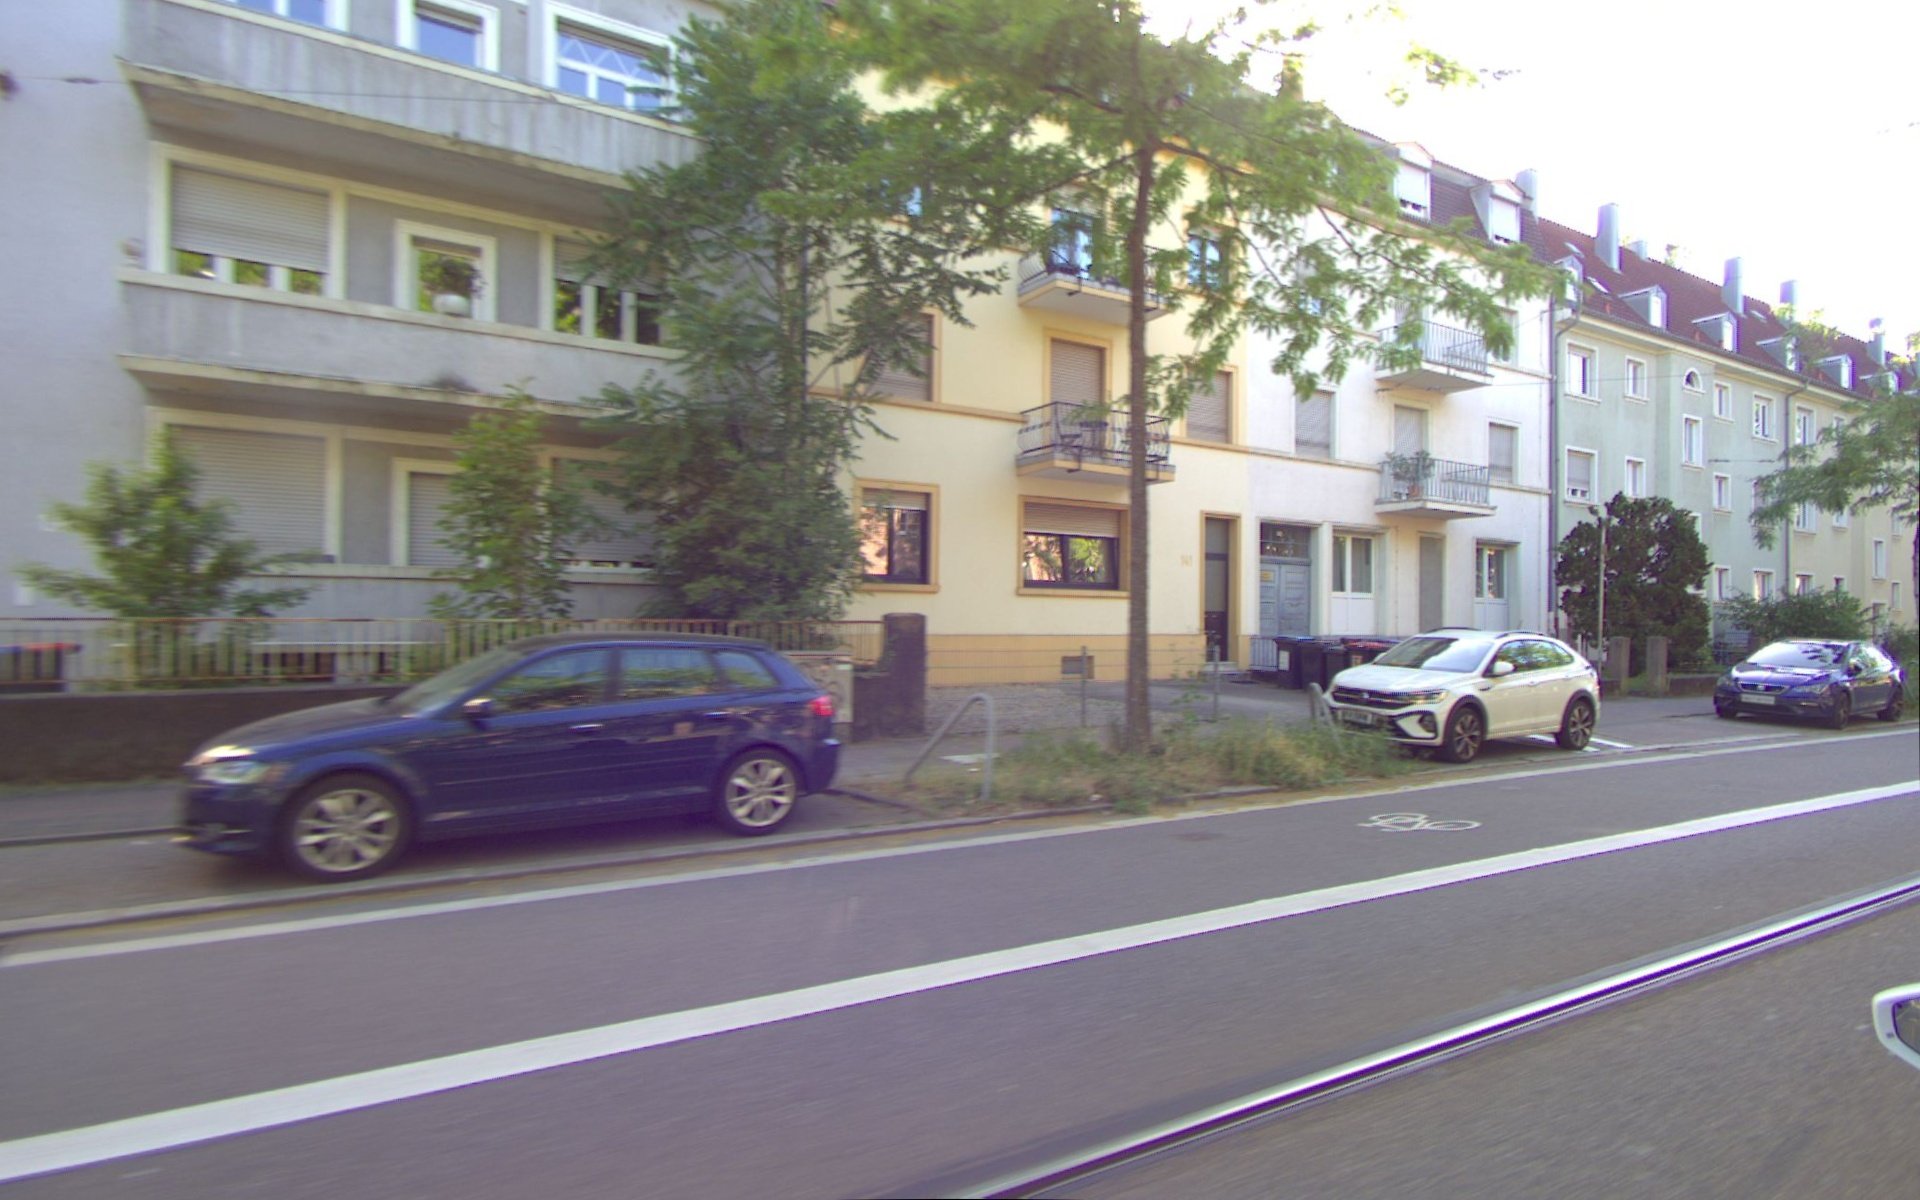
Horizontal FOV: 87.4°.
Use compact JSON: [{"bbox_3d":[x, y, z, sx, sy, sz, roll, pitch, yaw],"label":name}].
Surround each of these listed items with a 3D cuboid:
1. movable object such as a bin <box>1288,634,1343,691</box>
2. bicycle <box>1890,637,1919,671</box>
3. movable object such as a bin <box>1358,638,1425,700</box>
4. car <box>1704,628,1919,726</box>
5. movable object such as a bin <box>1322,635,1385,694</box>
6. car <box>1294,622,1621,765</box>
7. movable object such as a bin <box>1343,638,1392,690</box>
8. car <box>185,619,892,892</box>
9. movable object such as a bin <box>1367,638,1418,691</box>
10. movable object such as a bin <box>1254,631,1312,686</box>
[{"bbox_3d":[7.058,1.223,19.937,0.723,1.060,0.705,1,1,-27],"label":"movable object such as a bin"},{"bbox_3d":[36.152,2.049,37.599,0.516,1.193,1.896,1,1,-32],"label":"bicycle"},{"bbox_3d":[7.928,1.255,18.476,0.723,1.060,0.841,1,1,-27],"label":"movable object such as a bin"},{"bbox_3d":[15.587,1.325,18.327,4.389,1.531,1.748,1,0,-32],"label":"car"},{"bbox_3d":[7.534,1.228,19.248,0.723,1.060,0.841,1,1,-27],"label":"movable object such as a bin"},{"bbox_3d":[6.545,1.105,13.093,4.322,1.531,1.807,1,0,-32],"label":"car"},{"bbox_3d":[8.188,1.272,20.202,0.723,0.989,0.557,1,1,-27],"label":"movable object such as a bin"},{"bbox_3d":[-2.791,0.900,7.289,4.285,1.425,1.696,1,0,-32],"label":"car"},{"bbox_3d":[8.479,1.253,19.703,0.723,0.989,0.557,1,1,-27],"label":"movable object such as a bin"},{"bbox_3d":[6.646,1.193,20.681,0.723,1.060,0.841,1,1,-27],"label":"movable object such as a bin"}]
